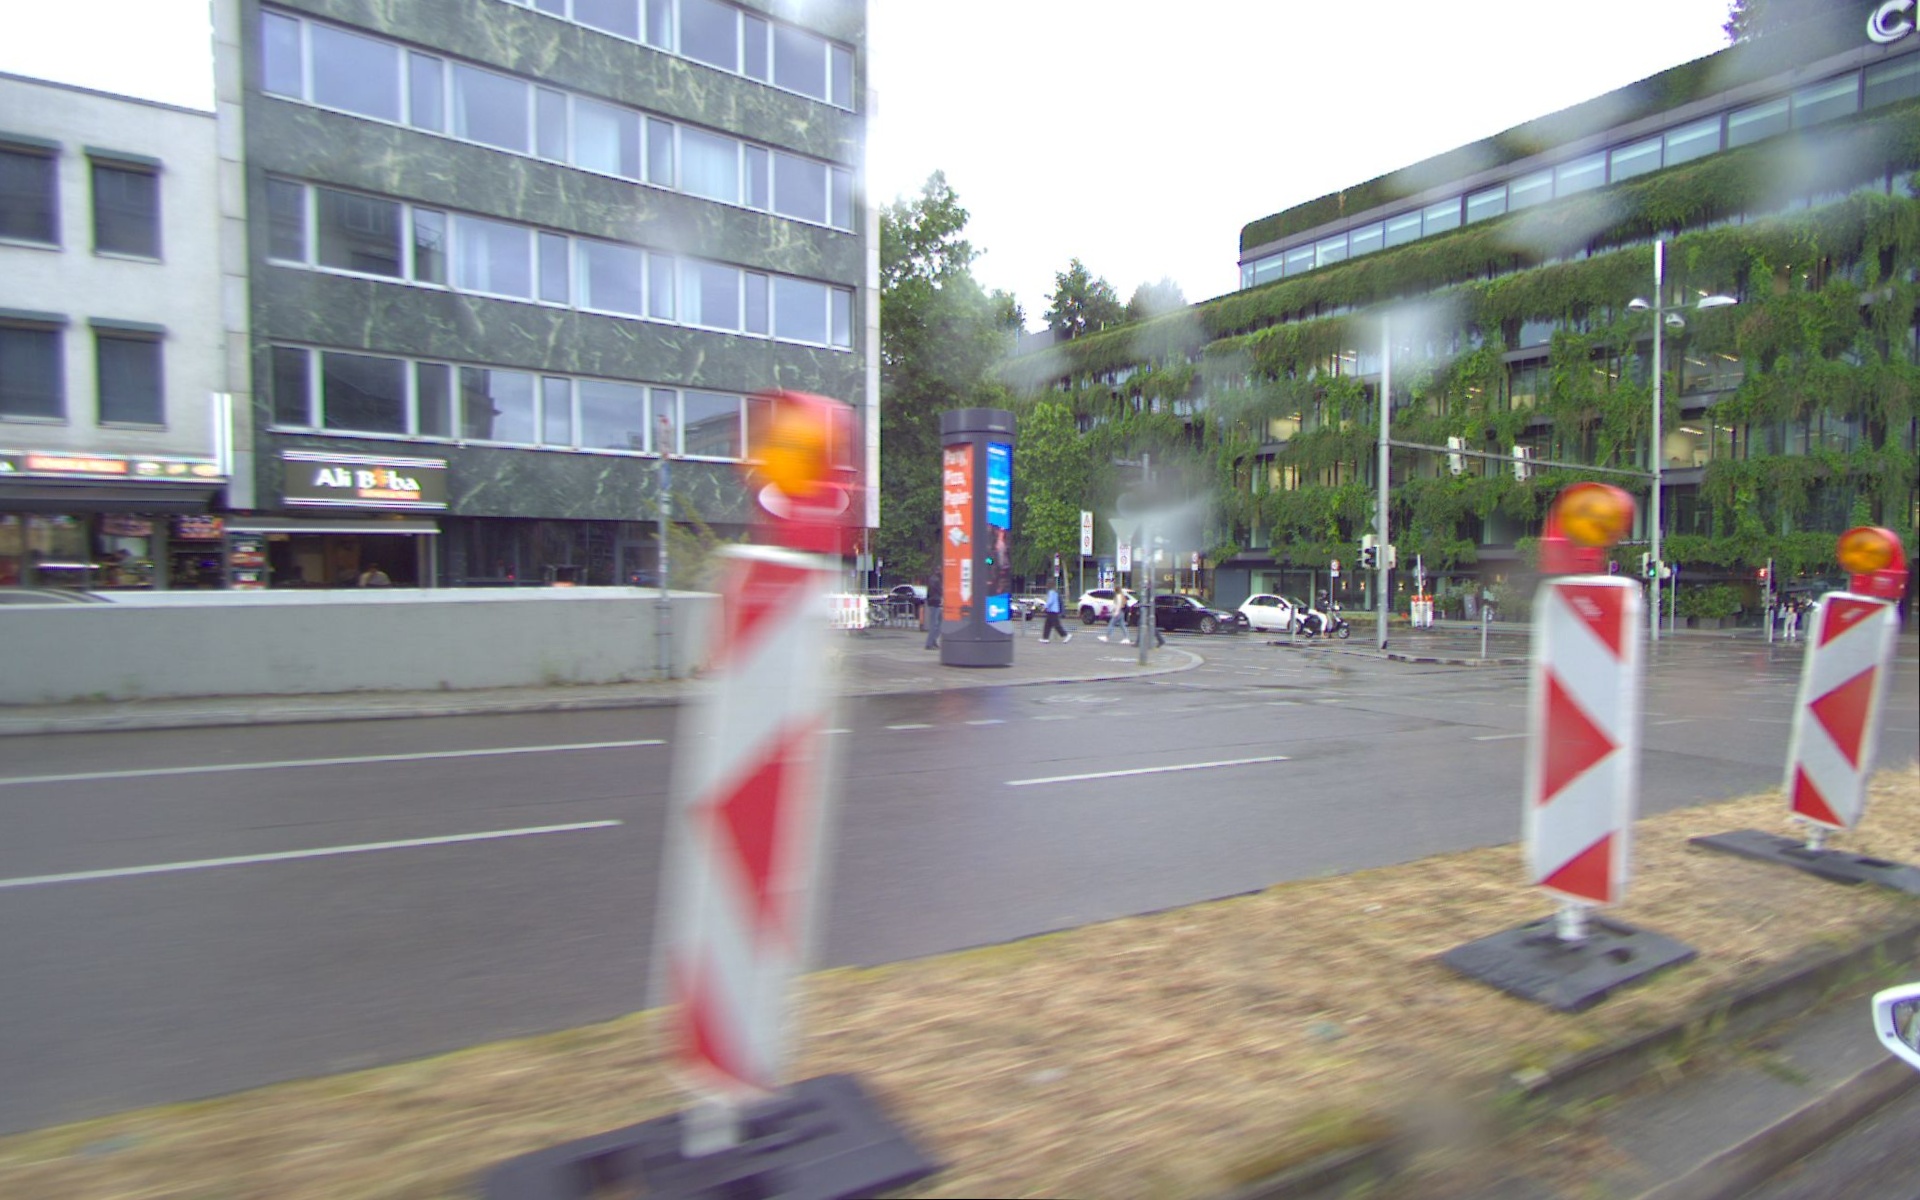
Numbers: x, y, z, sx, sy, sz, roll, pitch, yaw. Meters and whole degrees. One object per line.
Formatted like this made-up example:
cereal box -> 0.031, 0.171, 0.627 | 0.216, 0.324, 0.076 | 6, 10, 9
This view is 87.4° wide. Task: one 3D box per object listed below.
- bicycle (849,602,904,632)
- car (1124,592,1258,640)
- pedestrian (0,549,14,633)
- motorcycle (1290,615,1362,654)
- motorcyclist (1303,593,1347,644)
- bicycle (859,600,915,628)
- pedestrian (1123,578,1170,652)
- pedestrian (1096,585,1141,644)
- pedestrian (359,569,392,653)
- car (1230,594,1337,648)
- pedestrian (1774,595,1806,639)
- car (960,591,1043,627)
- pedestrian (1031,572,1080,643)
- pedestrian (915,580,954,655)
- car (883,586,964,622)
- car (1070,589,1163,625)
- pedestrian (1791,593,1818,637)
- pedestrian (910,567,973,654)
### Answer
bicycle -> -2.788, 0.567, 33.469 | 1.773, 0.947, 0.473 | 1, 1, -21
car -> 8.800, 0.568, 38.555 | 1.957, 1.674, 4.755 | 0, 1, -43
pedestrian -> -17.036, -0.167, 17.602 | 0.582, 1.470, 0.598 | 0, 1, -35
motorcycle -> 12.636, 1.165, 34.736 | 2.204, 1.227, 0.843 | 1, 1, 44
motorcyclist -> 12.633, 0.618, 34.740 | 1.173, 1.725, 0.843 | 1, 1, 44
bicycle -> -2.517, 0.488, 34.855 | 2.170, 0.968, 0.423 | 1, 0, -43
pedestrian -> 4.945, 0.398, 26.661 | 0.887, 1.910, 0.781 | 0, -3, -30
pedestrian -> 4.457, 0.412, 28.304 | 0.912, 1.606, 0.828 | 0, -3, -30
pedestrian -> -13.623, 0.250, 23.418 | 0.586, 1.910, 0.750 | 0, 1, -36
car -> 12.513, 0.763, 38.935 | 1.985, 1.948, 3.417 | 0, 1, -42
pedestrian -> 34.454, 0.705, 41.732 | 0.923, 1.781, 1.167 | 1, 1, 37
car -> 2.083, 0.446, 51.422 | 1.985, 1.674, 4.050 | 2, 0, -42
pedestrian -> 2.606, 0.201, 27.397 | 0.868, 1.879, 1.015 | 0, 1, -34
pedestrian -> -0.584, 0.382, 22.798 | 0.680, 1.675, 0.755 | 1, 1, -17
car -> -1.877, 0.172, 50.683 | 1.983, 1.674, 4.190 | 0, 1, -40
car -> 7.022, 0.299, 45.366 | 1.858, 1.543, 3.855 | 0, 1, -42
pedestrian -> 34.814, 0.605, 41.422 | 0.731, 1.781, 0.972 | 1, 1, 37
pedestrian -> -0.424, 0.235, 22.941 | 1.225, 1.911, 0.685 | 0, 2, -34
